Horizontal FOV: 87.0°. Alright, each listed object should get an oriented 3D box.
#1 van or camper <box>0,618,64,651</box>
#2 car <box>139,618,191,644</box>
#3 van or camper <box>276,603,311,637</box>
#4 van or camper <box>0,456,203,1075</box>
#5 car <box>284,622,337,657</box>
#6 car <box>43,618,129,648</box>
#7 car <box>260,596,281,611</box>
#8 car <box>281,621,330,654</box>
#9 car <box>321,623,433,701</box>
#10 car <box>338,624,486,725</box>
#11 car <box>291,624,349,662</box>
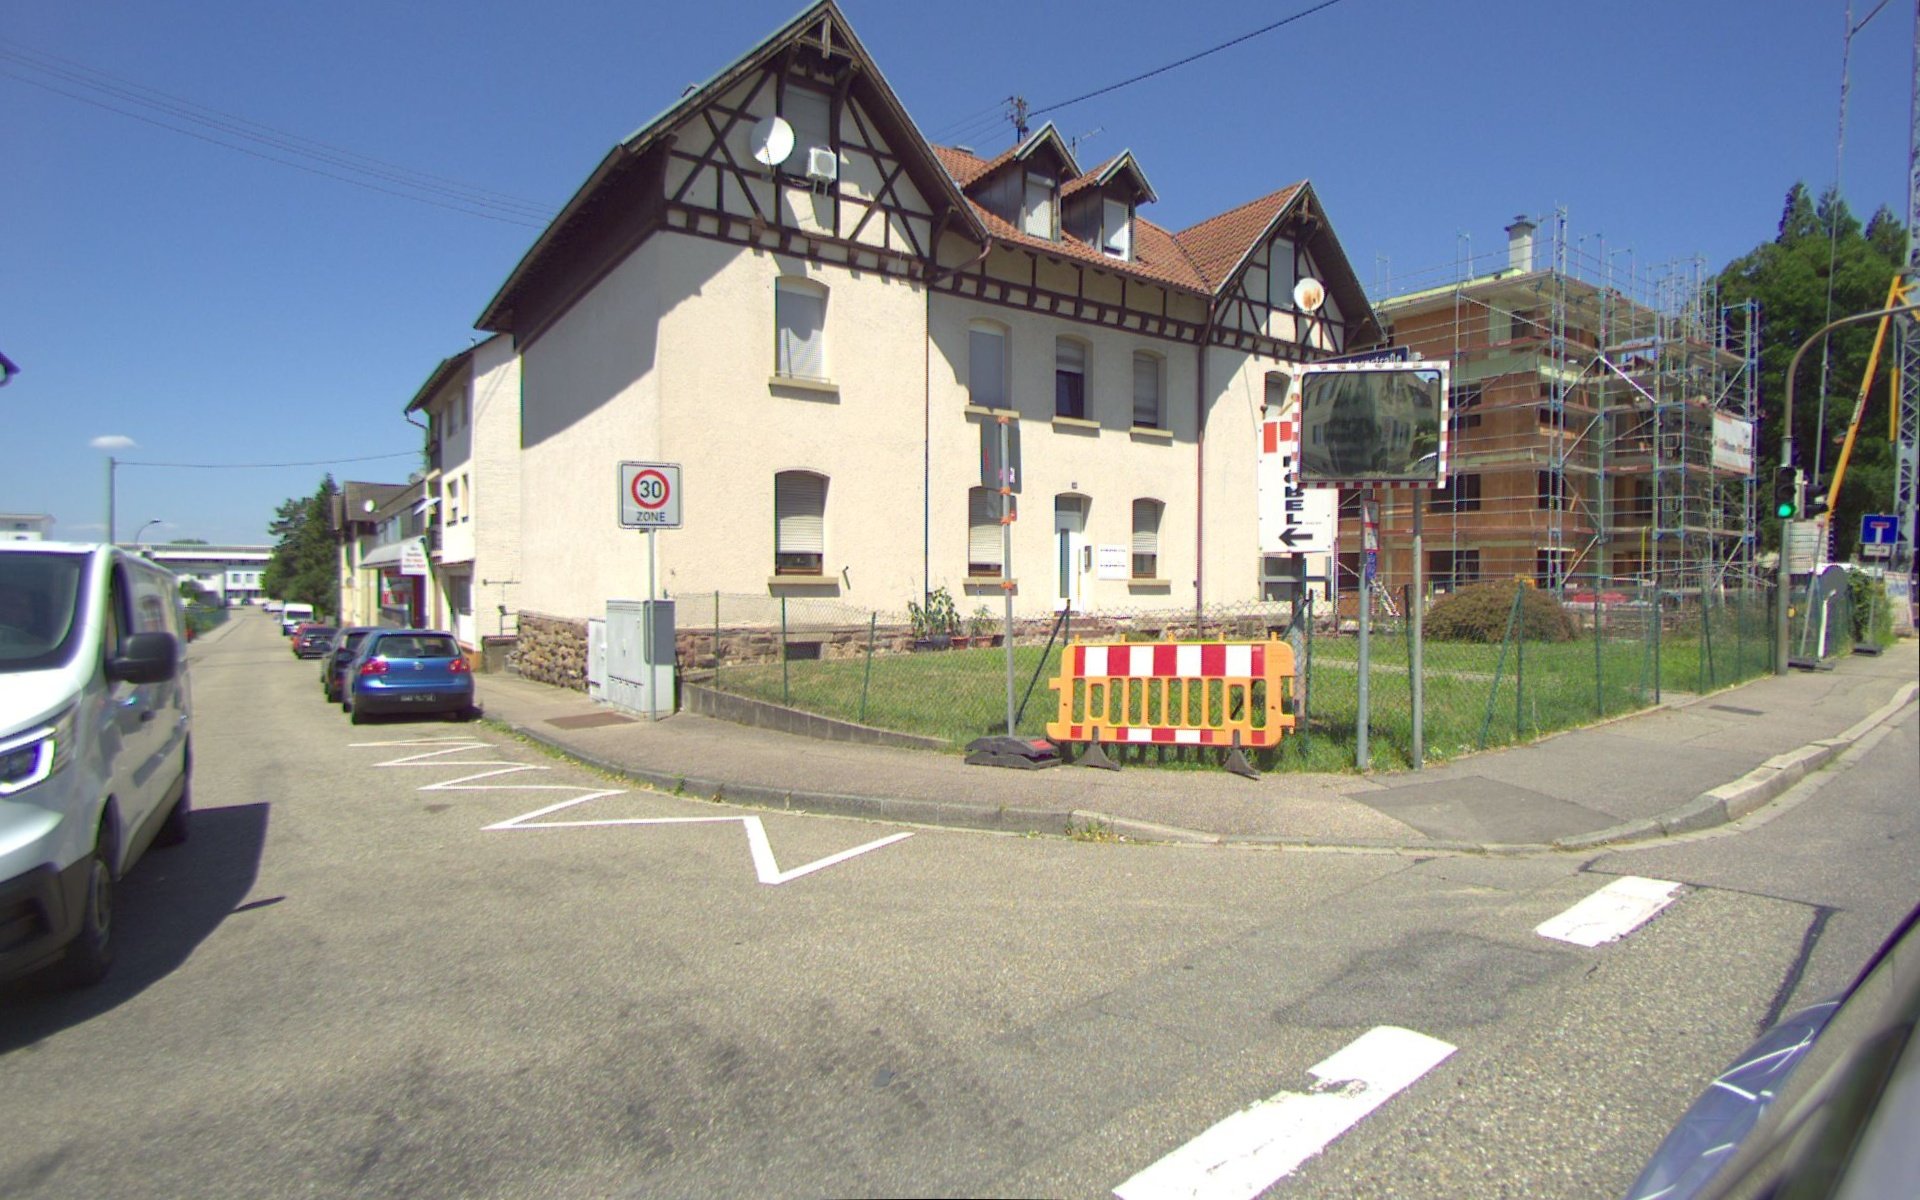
[{"bbox_3d":[-53.643,1.935,57.384,1.786,1.798,3.874,-2,-1,29],"label":"van or camper"},{"bbox_3d":[-52.819,2.052,67.191,3.875,1.677,1.783,-2,-1,37],"label":"car"},{"bbox_3d":[-53.756,1.629,81.586,2.183,2.633,5.031,0,-1,-35],"label":"van or camper"},{"bbox_3d":[-5.247,0.621,5.081,1.962,2.003,5.362,-2,0,-34],"label":"van or camper"},{"bbox_3d":[-30.549,1.839,47.566,1.795,1.565,3.397,0,-1,-38],"label":"car"},{"bbox_3d":[-53.552,1.999,62.040,3.677,1.772,1.761,-1,-1,-4],"label":"car"},{"bbox_3d":[-115.665,0.646,169.821,2.609,2.376,5.150,0,-1,-38],"label":"car"},{"bbox_3d":[-33.188,1.862,51.263,1.795,1.565,3.397,0,-1,-38],"label":"car"},{"bbox_3d":[-12.492,1.242,21.578,1.781,1.462,3.628,0,-1,-35],"label":"car"},{"bbox_3d":[-9.309,1.148,17.056,1.781,1.462,3.895,0,-1,-35],"label":"car"},{"bbox_3d":[-27.995,1.832,44.228,1.795,1.565,3.397,0,-1,-38],"label":"car"}]
